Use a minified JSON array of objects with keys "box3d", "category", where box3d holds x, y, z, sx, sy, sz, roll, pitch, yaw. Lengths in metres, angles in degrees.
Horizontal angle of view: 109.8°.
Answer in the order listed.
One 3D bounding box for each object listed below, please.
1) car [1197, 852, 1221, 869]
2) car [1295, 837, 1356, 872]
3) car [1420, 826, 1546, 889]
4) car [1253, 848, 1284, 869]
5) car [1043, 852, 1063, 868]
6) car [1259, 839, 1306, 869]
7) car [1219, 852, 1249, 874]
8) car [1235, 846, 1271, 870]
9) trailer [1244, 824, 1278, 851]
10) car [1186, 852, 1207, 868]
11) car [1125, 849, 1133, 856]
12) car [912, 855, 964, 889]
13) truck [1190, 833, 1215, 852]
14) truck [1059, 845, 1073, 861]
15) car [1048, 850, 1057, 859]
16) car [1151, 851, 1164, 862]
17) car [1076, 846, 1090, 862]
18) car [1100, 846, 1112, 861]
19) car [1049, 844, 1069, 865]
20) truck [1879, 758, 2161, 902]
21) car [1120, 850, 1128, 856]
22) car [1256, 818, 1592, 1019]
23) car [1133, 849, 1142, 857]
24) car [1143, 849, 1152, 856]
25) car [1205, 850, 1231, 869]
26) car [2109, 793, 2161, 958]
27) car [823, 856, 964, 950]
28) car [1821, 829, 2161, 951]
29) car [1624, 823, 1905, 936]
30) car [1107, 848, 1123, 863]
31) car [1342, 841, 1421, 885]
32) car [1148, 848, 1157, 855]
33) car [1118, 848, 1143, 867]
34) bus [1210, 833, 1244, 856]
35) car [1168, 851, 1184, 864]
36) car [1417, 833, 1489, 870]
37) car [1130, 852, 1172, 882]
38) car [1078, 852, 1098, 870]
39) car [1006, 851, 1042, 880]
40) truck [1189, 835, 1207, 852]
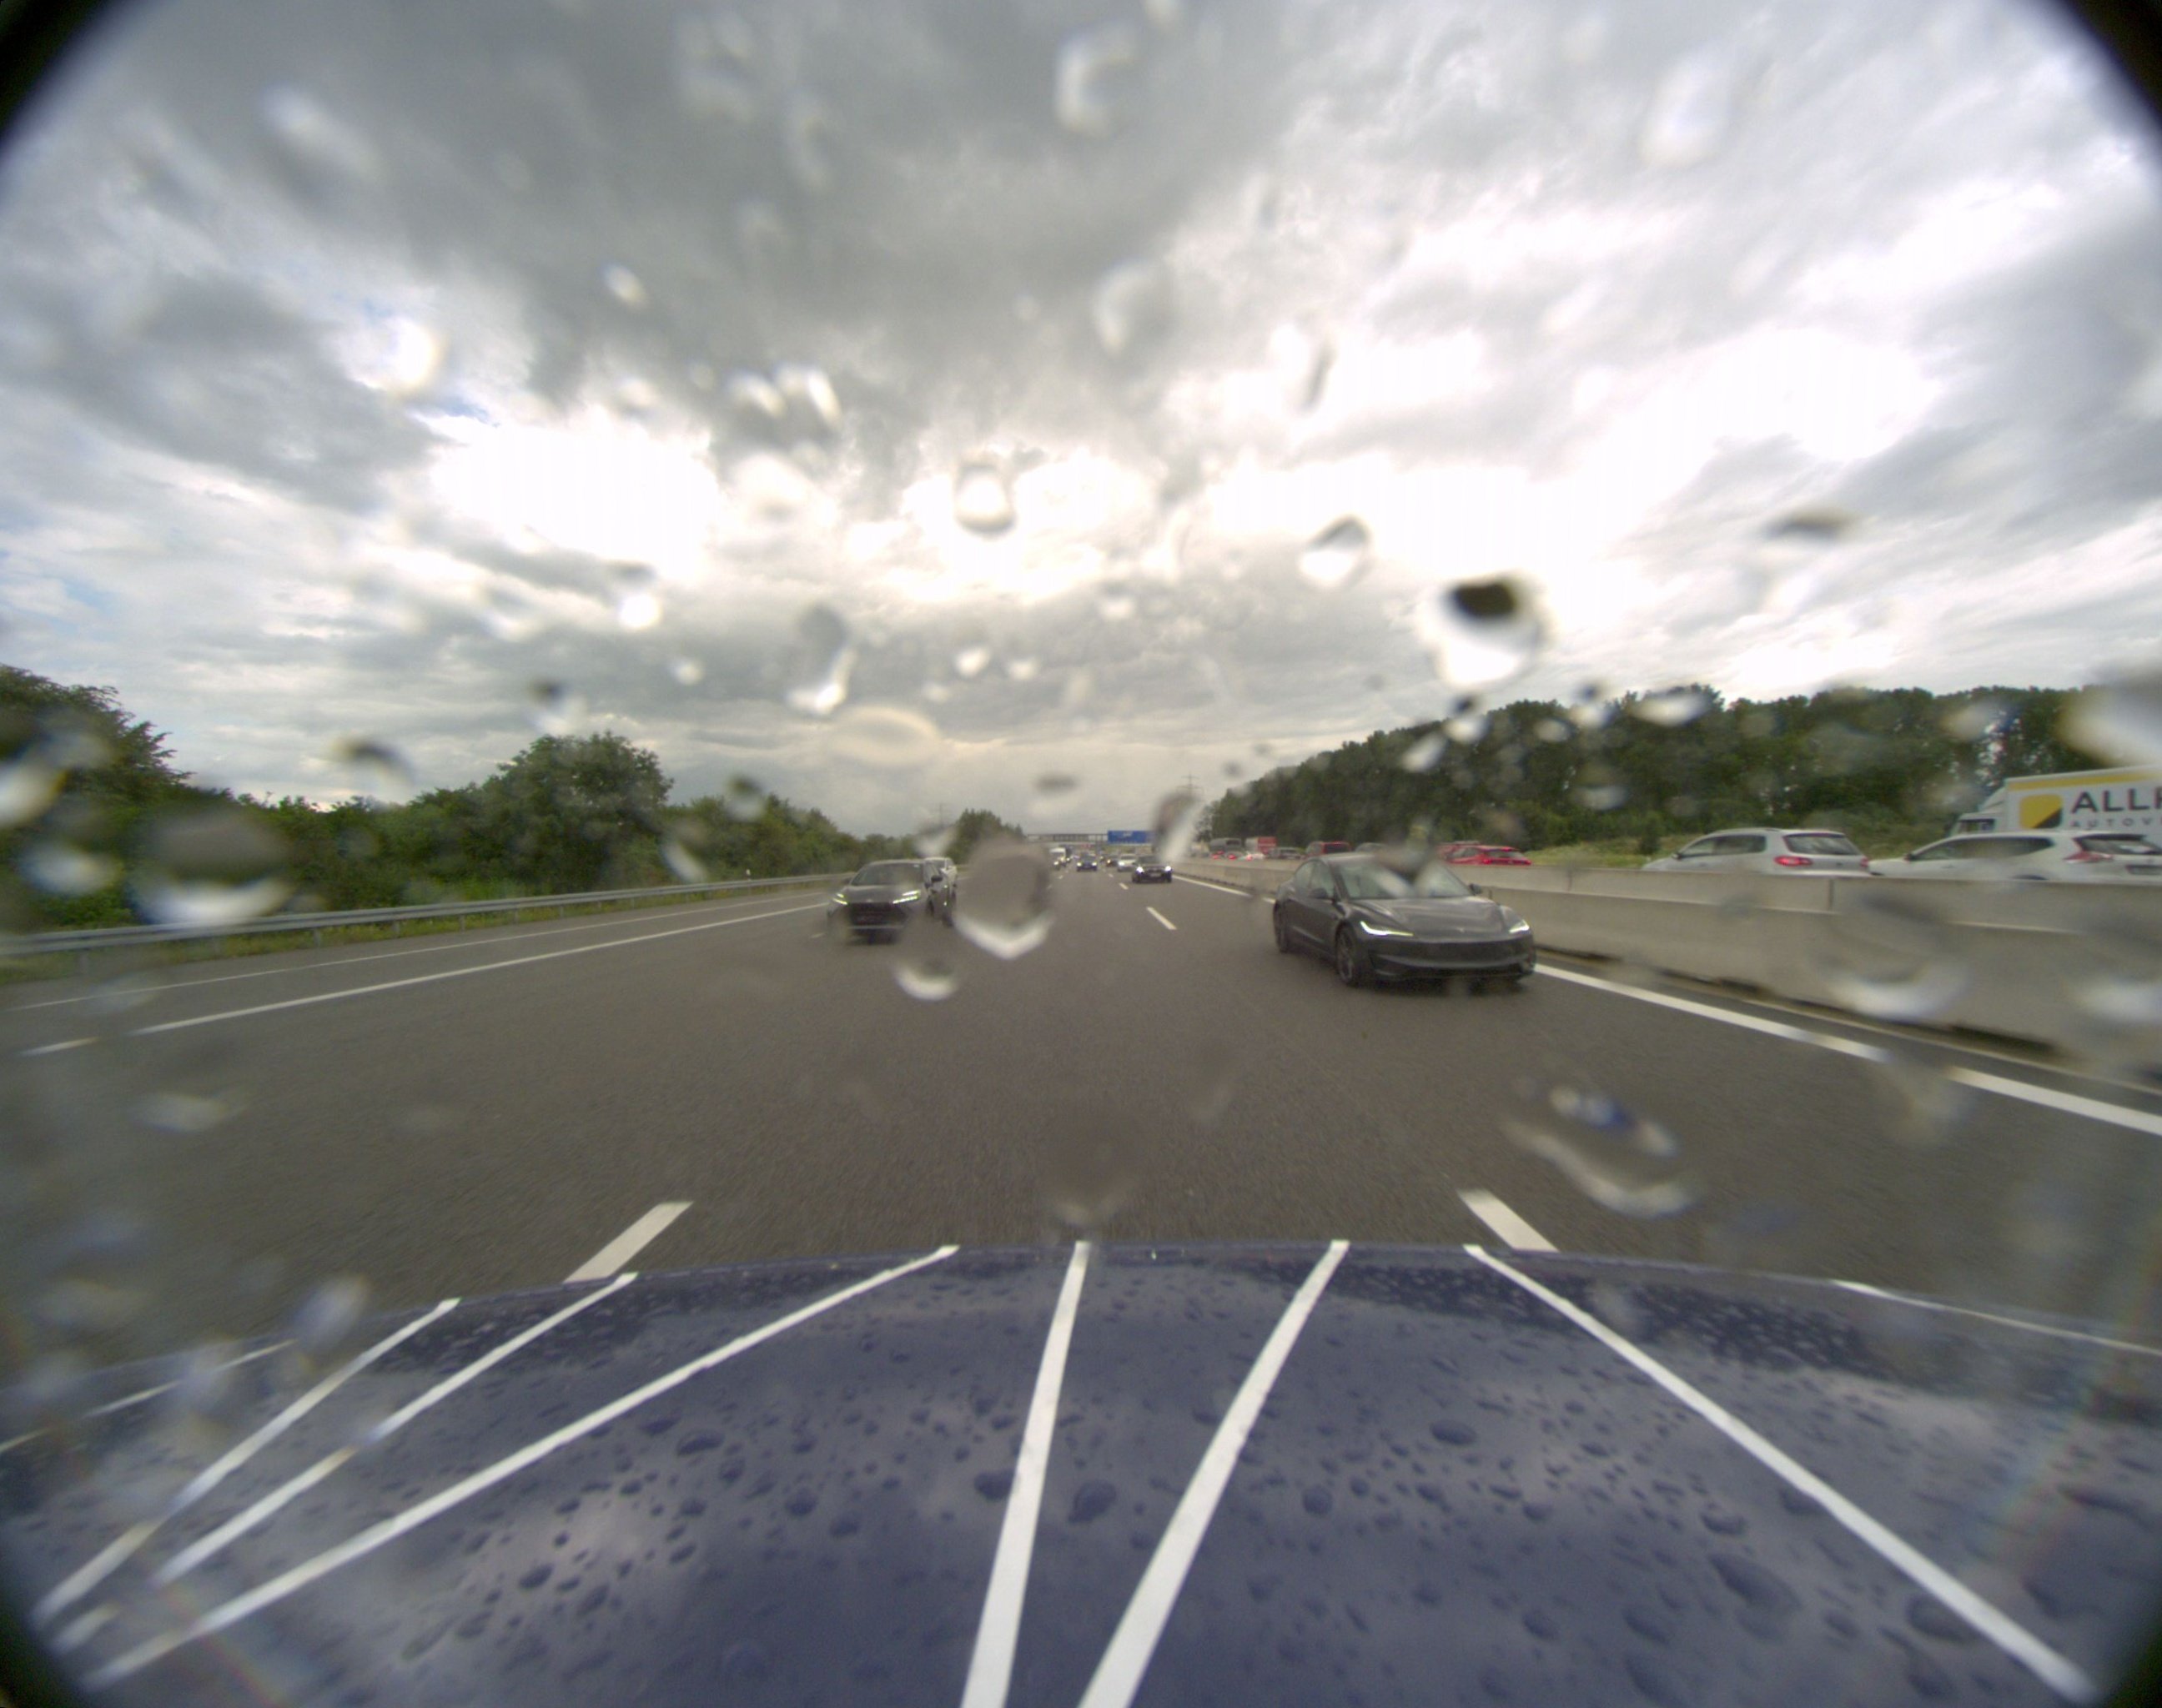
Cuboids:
[{"box3d":[14.871,0.723,88.382,1.998,1.956,4.696,-2,0,0],"category":"car"},{"box3d":[15.010,0.005,46.947,1.998,2.002,5.418,-2,0,0],"category":"car"},{"box3d":[14.160,0.117,27.130,1.998,2.002,4.686,-2,0,0],"category":"car"},{"box3d":[19.268,0.409,78.324,1.998,2.002,4.972,-2,0,0],"category":"car"},{"box3d":[-2.849,0.596,78.597,1.945,1.482,4.774,-2,0,-2],"category":"car"},{"box3d":[14.837,-0.006,56.243,1.998,2.002,5.418,-2,0,0],"category":"car"},{"box3d":[14.812,0.815,73.886,1.998,2.002,4.349,-2,0,0],"category":"car"},{"box3d":[15.103,0.356,66.960,1.998,2.002,4.972,-2,0,0],"category":"car"},{"box3d":[26.702,-2.397,113.069,2.867,3.740,9.160,-1,0,0],"category":"trailer"},{"box3d":[14.718,0.735,97.206,1.998,1.956,4.696,-2,0,0],"category":"car"},{"box3d":[15.229,-0.410,239.075,1.999,2.002,5.181,-2,0,-1],"category":"car"},{"box3d":[-7.367,0.864,39.511,1.815,1.589,4.695,-2,0,-1],"category":"car"},{"box3d":[26.400,-2.437,165.678,3.156,3.723,13.298,-2,0,0],"category":"truck"},{"box3d":[-2.730,-0.155,141.354,2.391,2.726,6.592,-2,0,-2],"category":"truck"},{"box3d":[-7.075,0.172,186.077,1.999,2.002,4.354,-2,0,-1],"category":"car"},{"box3d":[15.289,0.491,152.419,1.998,1.956,4.696,-2,0,0],"category":"car"},{"box3d":[0.366,-0.006,130.970,2.145,2.486,5.448,-2,0,1],"category":"car"},{"box3d":[4.448,-0.122,134.946,2.145,2.486,5.448,-2,0,2],"category":"car"},{"box3d":[-2.702,0.024,95.313,2.145,2.486,5.447,-2,0,1],"category":"car"},{"box3d":[25.881,-0.590,18.667,2.917,3.271,9.201,-2,0,1],"category":"truck"},{"box3d":[14.280,-0.323,252.922,1.999,1.844,4.634,-2,0,-2],"category":"car"},{"box3d":[3.772,0.592,9.627,1.998,1.810,5.163,-2,0,1],"category":"car"},{"box3d":[14.961,-0.318,201.405,1.999,2.002,4.264,-2,0,0],"category":"car"},{"box3d":[15.348,-0.327,175.364,1.808,1.709,4.000,-2,0,0],"category":"car"},{"box3d":[14.817,0.558,82.479,1.998,2.002,4.696,-2,0,0],"category":"car"},{"box3d":[14.103,0.240,6.812,1.998,2.002,5.757,-2,0,0],"category":"car"},{"box3d":[-3.681,0.875,15.807,1.785,1.603,4.597,-2,0,-1],"category":"car"},{"box3d":[18.135,0.589,15.207,1.998,2.002,4.813,-2,0,1],"category":"car"},{"box3d":[14.080,0.463,16.105,1.998,2.002,4.425,-2,0,1],"category":"car"},{"box3d":[3.983,0.154,89.304,1.711,1.621,4.000,-2,0,2],"category":"car"},{"box3d":[14.190,0.394,36.151,1.998,1.892,4.503,-2,0,1],"category":"car"},{"box3d":[18.957,-0.711,200.978,1.871,1.651,4.027,-2,0,0],"category":"car"},{"box3d":[4.188,0.293,64.584,1.822,1.565,4.000,-2,0,1],"category":"car"},{"box3d":[22.591,-1.427,118.661,2.694,3.365,13.997,-2,0,1],"category":"bus"},{"box3d":[14.853,0.462,118.967,1.998,1.956,4.696,-2,0,0],"category":"car"},{"box3d":[21.978,-0.149,45.102,1.998,2.002,4.686,-2,0,0],"category":"car"},{"box3d":[3.529,0.641,38.972,1.922,1.407,4.000,-1,0,2],"category":"car"},{"box3d":[0.701,0.591,69.968,1.711,1.562,4.347,-2,0,2],"category":"car"},{"box3d":[-3.429,0.678,46.467,1.711,1.621,4.457,-2,0,2],"category":"car"},{"box3d":[26.408,-2.444,172.087,3.158,3.690,6.318,-2,0,1],"category":"truck"}]
